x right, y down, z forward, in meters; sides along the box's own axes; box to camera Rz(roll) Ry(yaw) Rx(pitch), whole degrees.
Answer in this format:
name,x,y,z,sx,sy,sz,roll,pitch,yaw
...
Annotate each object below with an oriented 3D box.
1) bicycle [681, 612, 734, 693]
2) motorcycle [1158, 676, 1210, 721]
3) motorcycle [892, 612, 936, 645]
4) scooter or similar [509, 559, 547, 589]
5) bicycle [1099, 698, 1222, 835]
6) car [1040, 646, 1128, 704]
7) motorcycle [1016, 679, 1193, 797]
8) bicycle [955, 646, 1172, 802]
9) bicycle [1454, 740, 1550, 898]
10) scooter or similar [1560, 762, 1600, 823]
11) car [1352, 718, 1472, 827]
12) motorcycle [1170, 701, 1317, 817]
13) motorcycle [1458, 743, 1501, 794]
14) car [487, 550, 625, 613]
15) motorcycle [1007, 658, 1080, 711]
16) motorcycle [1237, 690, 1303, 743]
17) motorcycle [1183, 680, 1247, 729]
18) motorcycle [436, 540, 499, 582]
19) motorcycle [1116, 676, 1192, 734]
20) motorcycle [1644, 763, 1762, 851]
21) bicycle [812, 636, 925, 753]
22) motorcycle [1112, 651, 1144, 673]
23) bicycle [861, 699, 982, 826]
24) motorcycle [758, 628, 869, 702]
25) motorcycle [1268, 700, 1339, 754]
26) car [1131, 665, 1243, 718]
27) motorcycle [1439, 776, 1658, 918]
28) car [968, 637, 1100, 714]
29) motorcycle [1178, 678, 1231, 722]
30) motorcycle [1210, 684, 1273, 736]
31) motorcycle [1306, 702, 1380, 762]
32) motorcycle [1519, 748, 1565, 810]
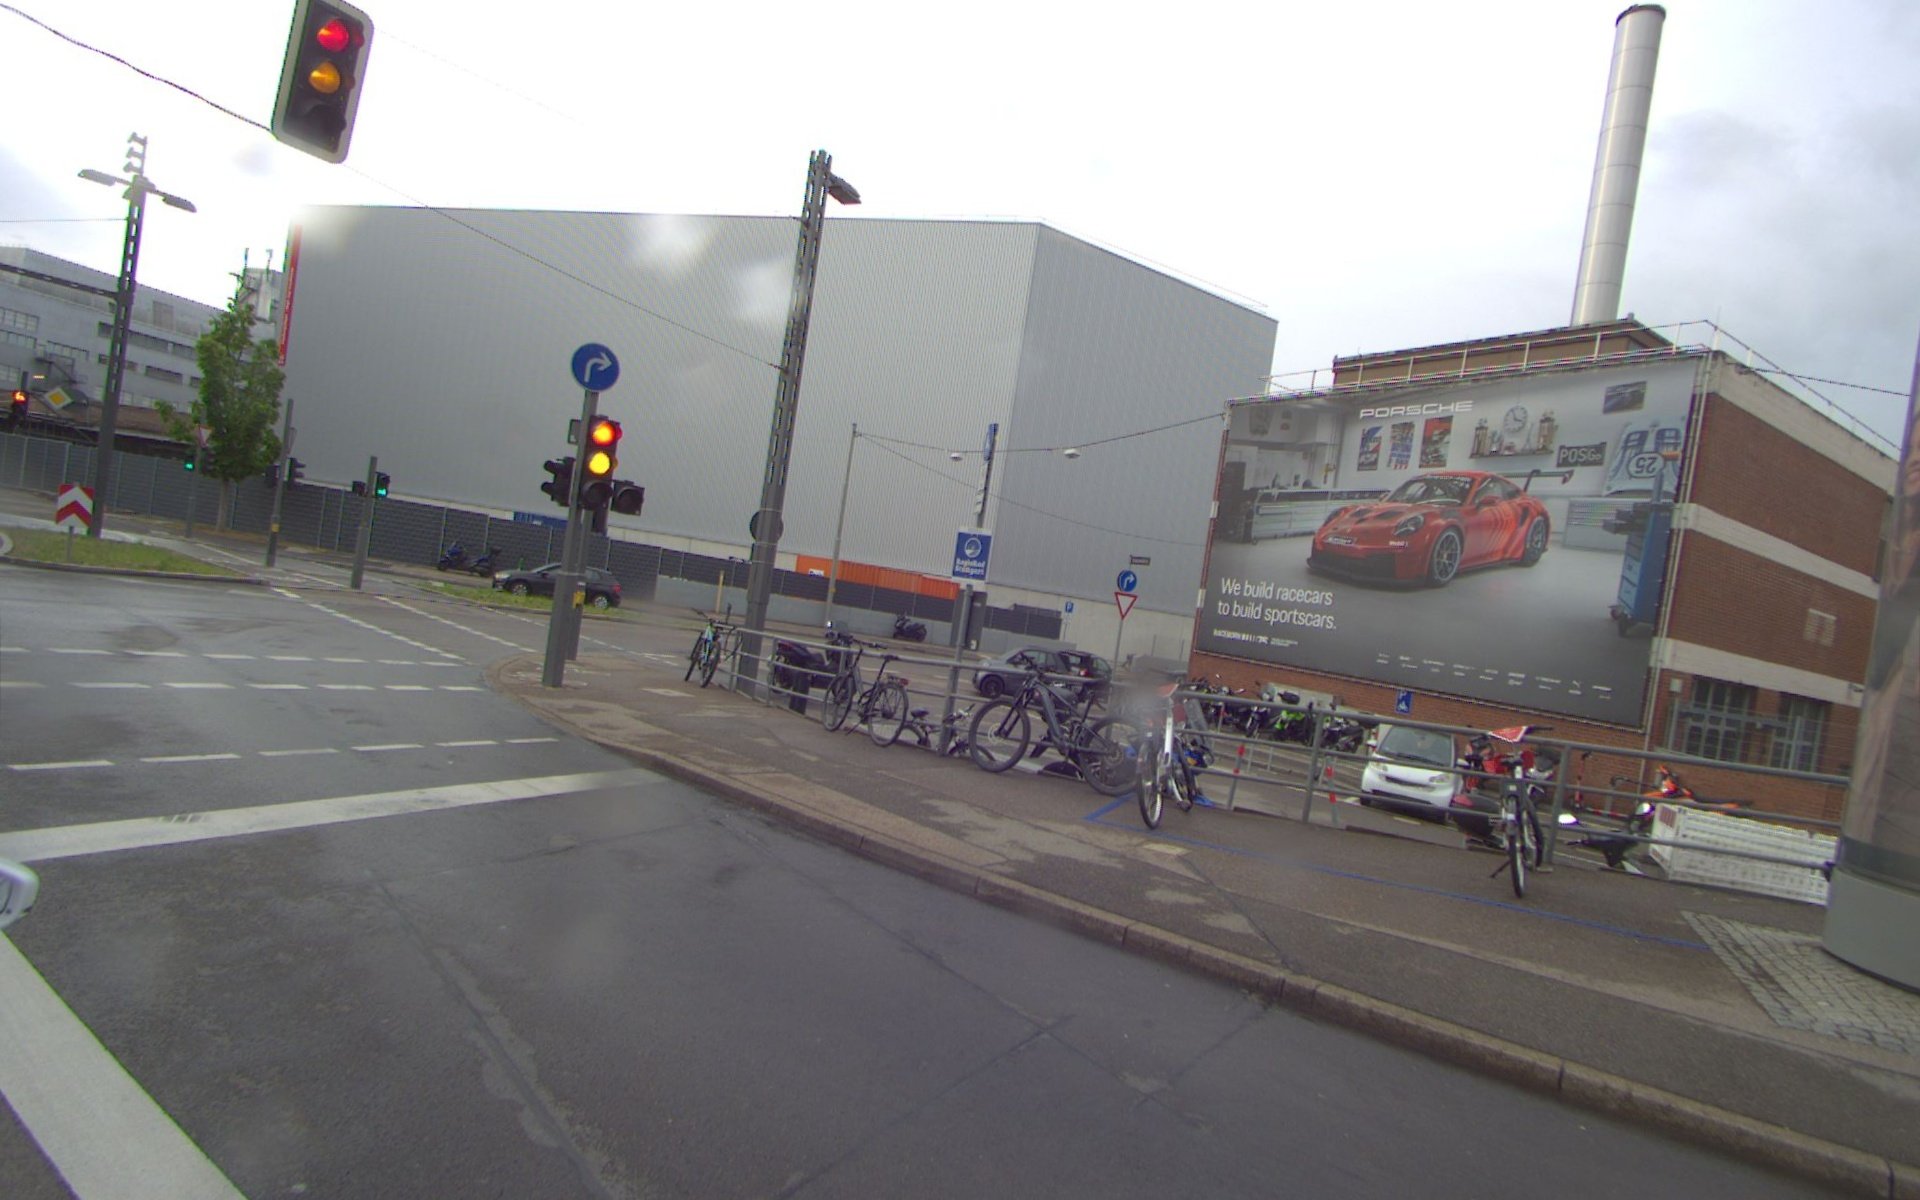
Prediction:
name,x,y,z,sx,sy,sz,roll,pitch,yaw
bicycle,-4.099,0.816,16.227,0.416,1.143,2.064,7,-2,-22
motorcycle,6.615,2.909,29.836,0.538,1.133,1.593,8,-2,-25
motorcycle,-2.386,1.479,52.035,2.082,1.393,0.649,10,0,-33
scooter or similar,-17.899,-1.062,41.669,1.247,1.041,0.385,9,0,0
bicycle,1.719,1.335,8.428,0.414,0.973,1.744,6,-1,29
car,4.118,2.507,33.276,1.530,1.510,2.745,11,0,37
motorcycle,1.438,1.375,10.259,1.722,0.906,0.545,6,-1,44
bicycle,0.963,1.156,9.715,1.981,1.189,0.400,6,0,30
bicycle,4.039,1.559,7.449,0.414,0.933,1.613,8,0,32
scooter or similar,12.890,3.971,20.884,0.496,1.109,1.635,6,-2,36
car,8.552,3.119,18.859,1.541,1.506,3.996,8,-1,29
motorcycle,2.739,1.514,9.736,1.241,0.901,0.434,6,0,23
motorcycle,11.411,3.684,22.076,0.533,0.984,1.613,6,-2,36
car,-13.478,-0.597,33.593,3.958,1.442,1.707,9,-1,-30
motorcycle,2.124,2.152,25.593,1.702,1.159,0.492,8,-2,-24
motorcycle,8.106,3.039,26.297,1.695,1.194,0.541,8,-2,-30
motorcycle,7.204,2.953,28.372,1.631,1.194,0.670,8,-2,-30
motorcycle,-19.832,-1.575,40.501,2.082,1.326,0.649,10,0,-33
motorcycle,4.597,2.488,23.997,0.539,1.123,1.850,8,-2,-32
motorcycle,14.269,3.956,19.362,1.639,1.349,0.524,6,-1,21
bicycle,-1.070,1.030,11.355,0.344,1.097,1.728,7,-1,-35
motorcycle,10.585,3.889,63.458,0.622,1.088,1.906,8,0,-38
bicycle,-0.465,1.763,11.180,0.344,1.097,1.728,7,-1,-35
motorcycle,-2.637,1.211,18.338,0.481,1.158,2.086,6,-3,41
motorcycle,8.534,3.161,24.987,1.789,1.132,0.474,8,-2,-28
car,8.341,3.349,36.832,4.070,1.460,1.554,9,-3,-35
motorcycle,5.087,2.124,8.773,1.512,0.901,0.403,6,0,19
car,1.969,2.026,27.388,3.190,1.521,1.624,9,0,-4
motorcycle,7.423,3.034,30.582,0.538,1.123,1.639,8,-2,-25
motorcycle,7.567,2.962,27.021,1.631,1.194,0.541,8,-2,-30
motorcycle,9.307,3.203,24.427,1.788,1.253,0.540,8,1,-30
motorcycle,12.347,3.768,21.332,0.576,1.165,1.717,6,-2,36
